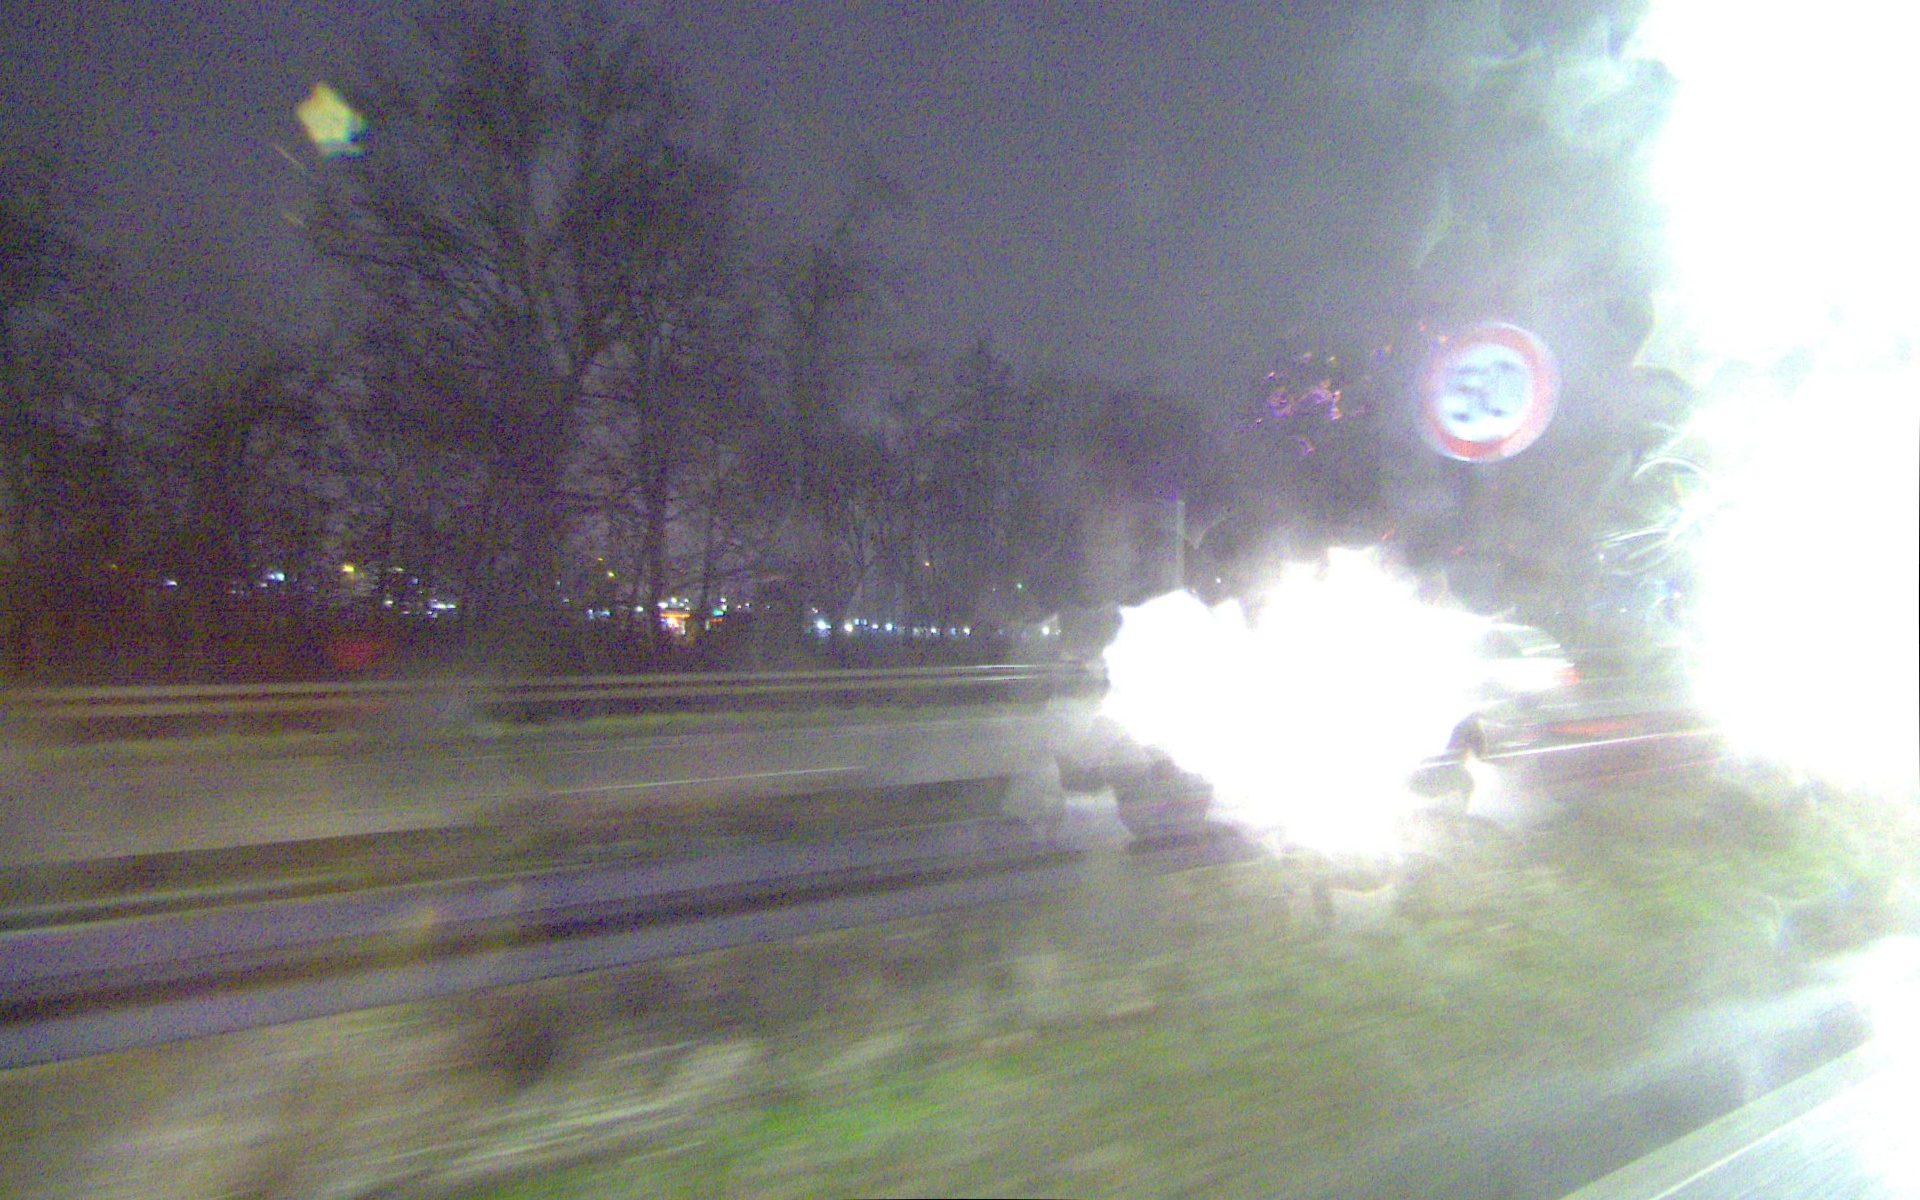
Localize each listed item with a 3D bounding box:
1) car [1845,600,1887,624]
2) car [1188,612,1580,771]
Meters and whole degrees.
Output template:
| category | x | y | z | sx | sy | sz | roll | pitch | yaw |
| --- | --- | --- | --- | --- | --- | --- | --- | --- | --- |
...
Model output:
| category | x | y | z | sx | sy | sz | roll | pitch | yaw |
| --- | --- | --- | --- | --- | --- | --- | --- | --- | --- |
| car | 81.407 | 1.071 | 90.326 | 1.965 | 2.040 | 3.992 | 2 | 1 | 31 |
| car | 4.706 | 0.898 | 10.922 | 4.415 | 1.412 | 1.806 | 1 | -4 | -35 |
